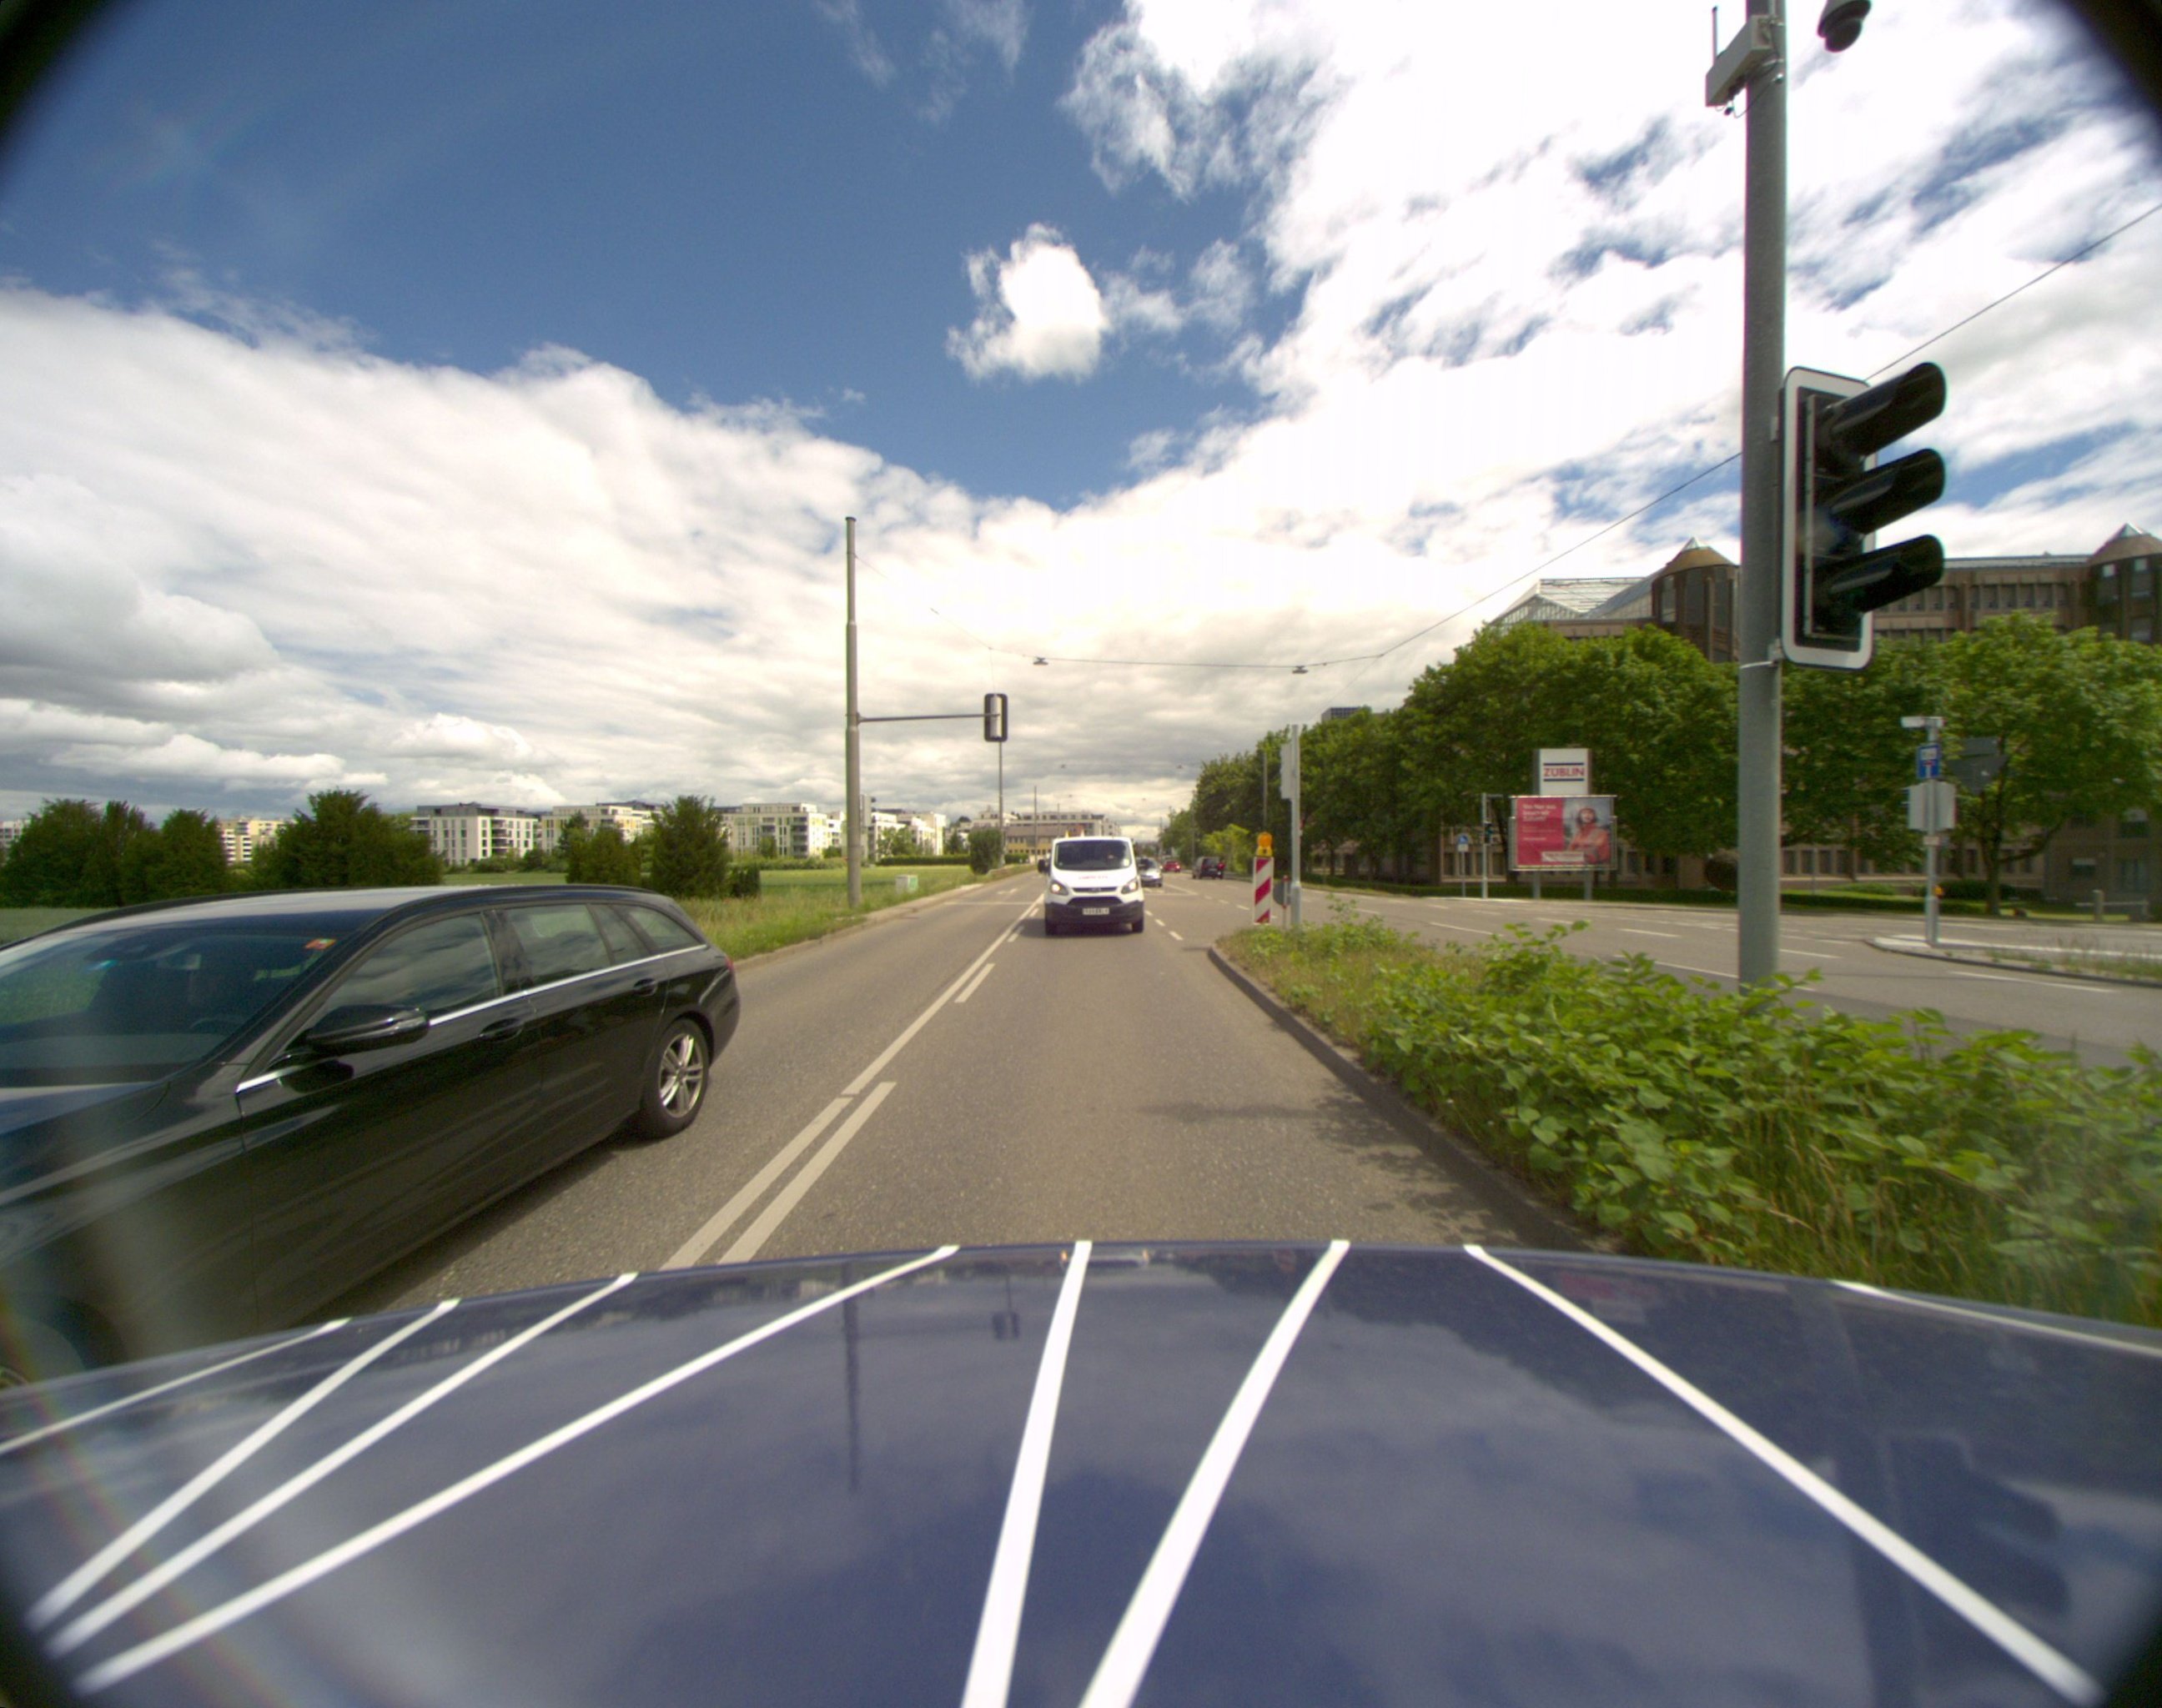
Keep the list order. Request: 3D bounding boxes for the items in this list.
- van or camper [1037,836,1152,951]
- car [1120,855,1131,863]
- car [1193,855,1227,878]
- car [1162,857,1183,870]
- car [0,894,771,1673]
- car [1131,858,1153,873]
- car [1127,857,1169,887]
[{"bbox_3d":[0.229,0.685,16.247,1.999,2.002,5.799,-1,0,0],"label":"van or camper"},{"bbox_3d":[8.276,0.874,142.546,1.800,1.445,4.000,1,0,0],"label":"car"},{"bbox_3d":[10.013,0.959,59.099,1.998,1.692,4.761,-1,0,2],"label":"car"},{"bbox_3d":[10.033,1.012,83.244,1.784,1.407,3.999,0,0,0],"label":"car"},{"bbox_3d":[-3.238,1.023,3.027,1.877,1.432,5.199,-1,0,0],"label":"car"},{"bbox_3d":[6.014,1.145,75.466,1.796,1.439,4.422,-1,0,0],"label":"car"},{"bbox_3d":[3.439,0.904,39.685,1.894,1.433,4.000,-1,0,0],"label":"car"}]
